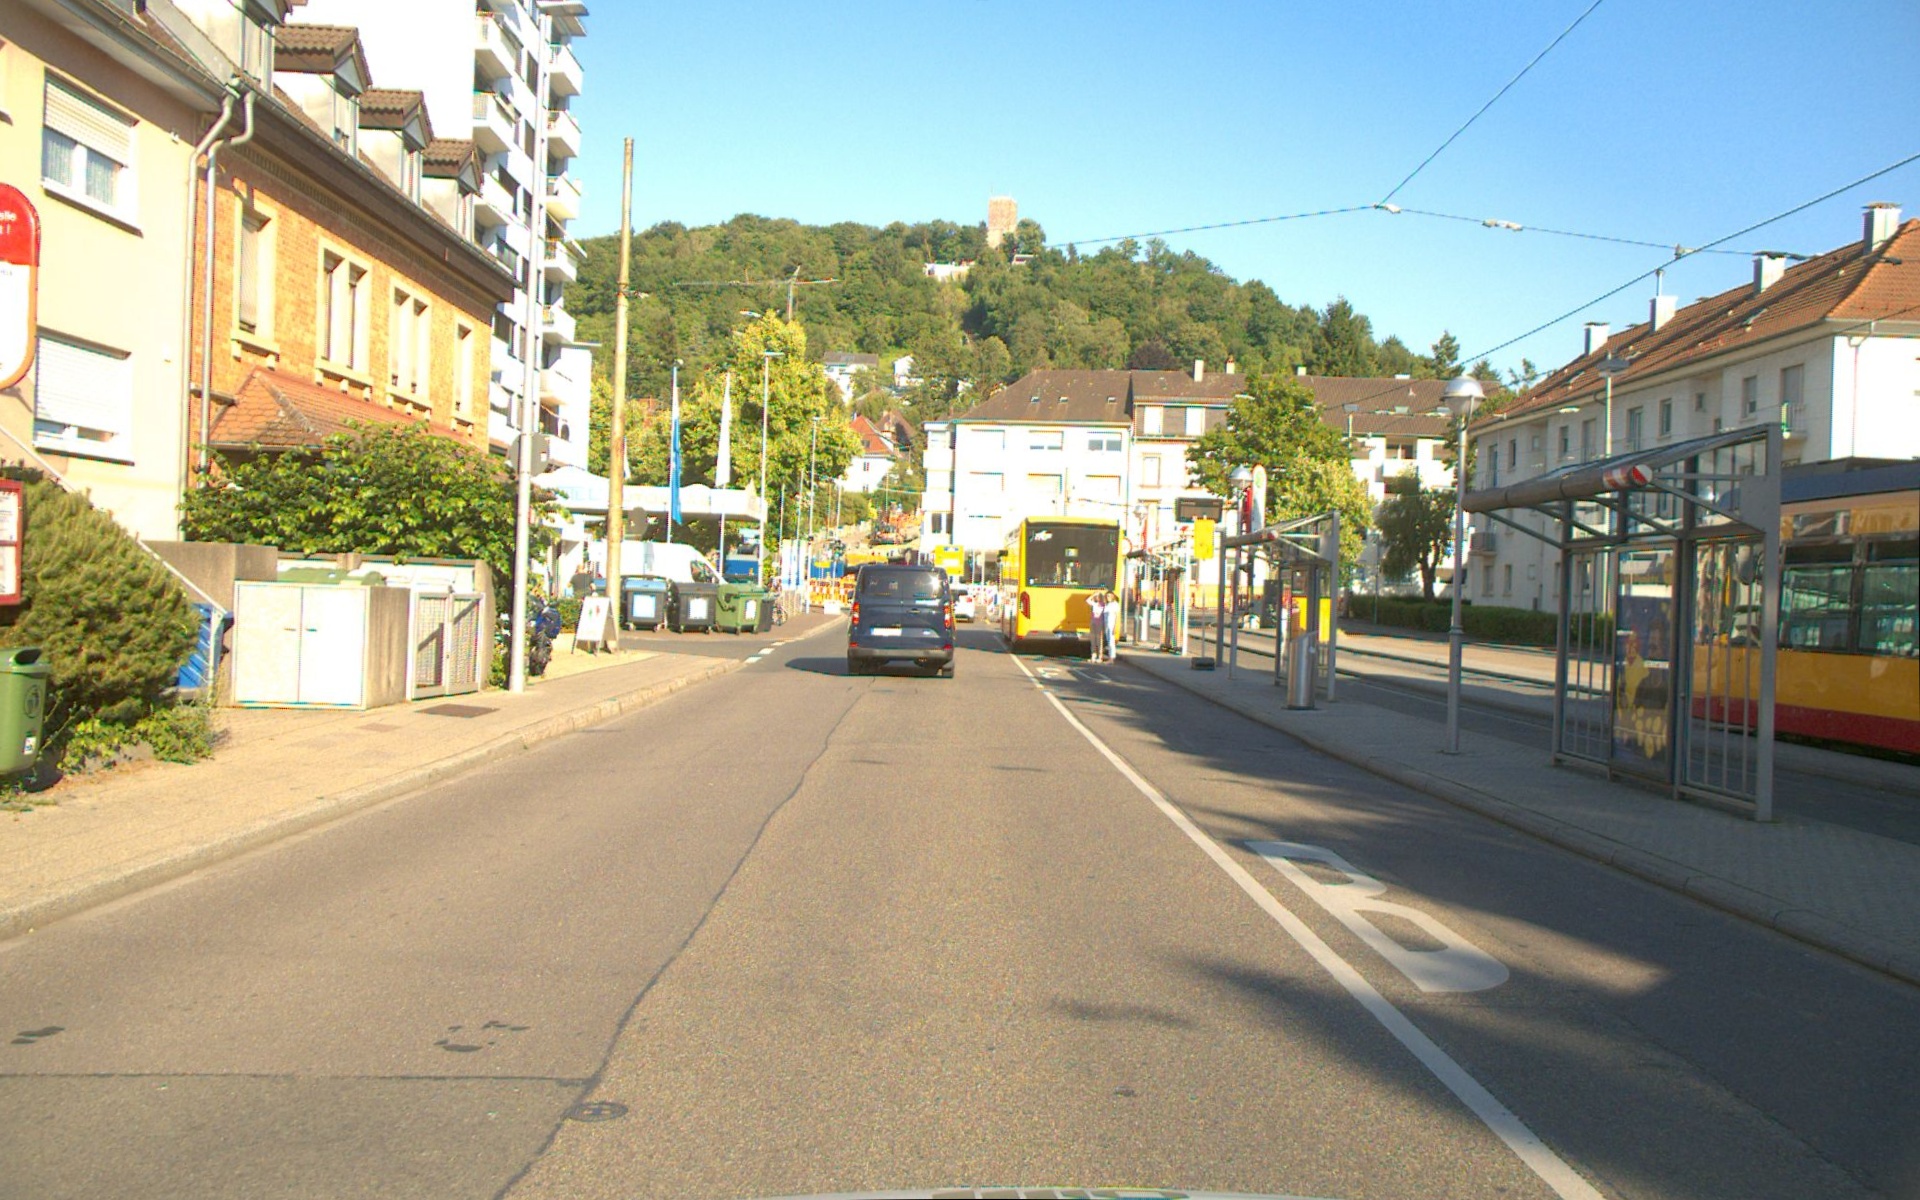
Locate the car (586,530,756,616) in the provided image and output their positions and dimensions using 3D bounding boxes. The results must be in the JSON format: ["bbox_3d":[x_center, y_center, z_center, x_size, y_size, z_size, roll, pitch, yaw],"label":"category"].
[{"bbox_3d":[-9.305,-0.862,53.254,4.985,2.512,2.095,2,0,-23],"label":"car"}]

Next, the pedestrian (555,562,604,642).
[{"bbox_3d":[-9.226,0.049,40.071,0.801,1.900,0.795,2,1,25],"label":"pedestrian"}]

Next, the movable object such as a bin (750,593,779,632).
[{"bbox_3d":[-5.877,0.371,49.794,0.646,1.080,0.585,4,3,12],"label":"movable object such as a bin"}]

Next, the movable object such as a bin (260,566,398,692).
[{"bbox_3d":[-7.563,0.337,19.872,1.281,1.454,0.991,1,0,-5],"label":"movable object such as a bin"}]

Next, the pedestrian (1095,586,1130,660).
[{"bbox_3d":[3.444,0.519,37.374,0.540,1.641,0.542,1,0,-38],"label":"pedestrian"}]

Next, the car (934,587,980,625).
[{"bbox_3d":[-0.114,0.225,66.488,1.757,1.434,4.000,2,0,0],"label":"car"}]

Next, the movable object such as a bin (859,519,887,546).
[{"bbox_3d":[-9.519,-7.348,181.051,2.144,2.737,4.004,2,1,11],"label":"movable object such as a bin"}]

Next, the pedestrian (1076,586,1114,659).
[{"bbox_3d":[3.075,0.516,37.747,0.540,1.641,0.627,1,0,-38],"label":"pedestrian"}]

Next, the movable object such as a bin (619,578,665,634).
[{"bbox_3d":[-9.120,0.170,47.487,1.194,1.508,0.704,1,3,-5],"label":"movable object such as a bin"}]

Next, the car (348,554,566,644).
[{"bbox_3d":[-11.780,-0.025,38.989,4.522,1.967,1.999,1,0,-3],"label":"car"}]

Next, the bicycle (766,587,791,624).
[{"bbox_3d":[-6.117,0.188,55.638,0.710,1.198,1.777,2,0,-10],"label":"bicycle"}]

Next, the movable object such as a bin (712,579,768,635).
[{"bbox_3d":[-6.495,0.196,48.876,1.035,1.508,1.311,4,4,28],"label":"movable object such as a bin"}]

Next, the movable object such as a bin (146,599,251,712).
[{"bbox_3d":[-7.593,0.547,16.510,0.743,1.084,0.601,2,0,-1],"label":"movable object such as a bin"}]

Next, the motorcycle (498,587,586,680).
[{"bbox_3d":[-6.234,0.473,24.797,0.822,1.304,2.231,2,0,-3],"label":"motorcycle"}]

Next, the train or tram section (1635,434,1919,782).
[{"bbox_3d":[11.382,0.090,16.142,2.897,3.596,15.967,1,0,-1],"label":"train or tram section"}]

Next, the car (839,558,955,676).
[{"bbox_3d":[-1.121,0.286,31.239,2.020,2.049,4.999,0,0,-1],"label":"car"}]

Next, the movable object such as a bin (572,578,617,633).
[{"bbox_3d":[-10.457,0.149,47.380,1.155,1.508,0.704,1,3,-5],"label":"movable object such as a bin"}]

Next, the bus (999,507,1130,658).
[{"bbox_3d":[2.610,-0.508,44.975,2.633,3.475,12.018,2,1,0],"label":"bus"}]

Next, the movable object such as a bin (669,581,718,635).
[{"bbox_3d":[-7.697,0.223,47.774,1.205,1.508,0.697,0,4,-30],"label":"movable object such as a bin"}]

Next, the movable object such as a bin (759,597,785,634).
[{"bbox_3d":[-5.733,0.471,50.413,0.626,1.088,0.581,2,4,12],"label":"movable object such as a bin"}]
